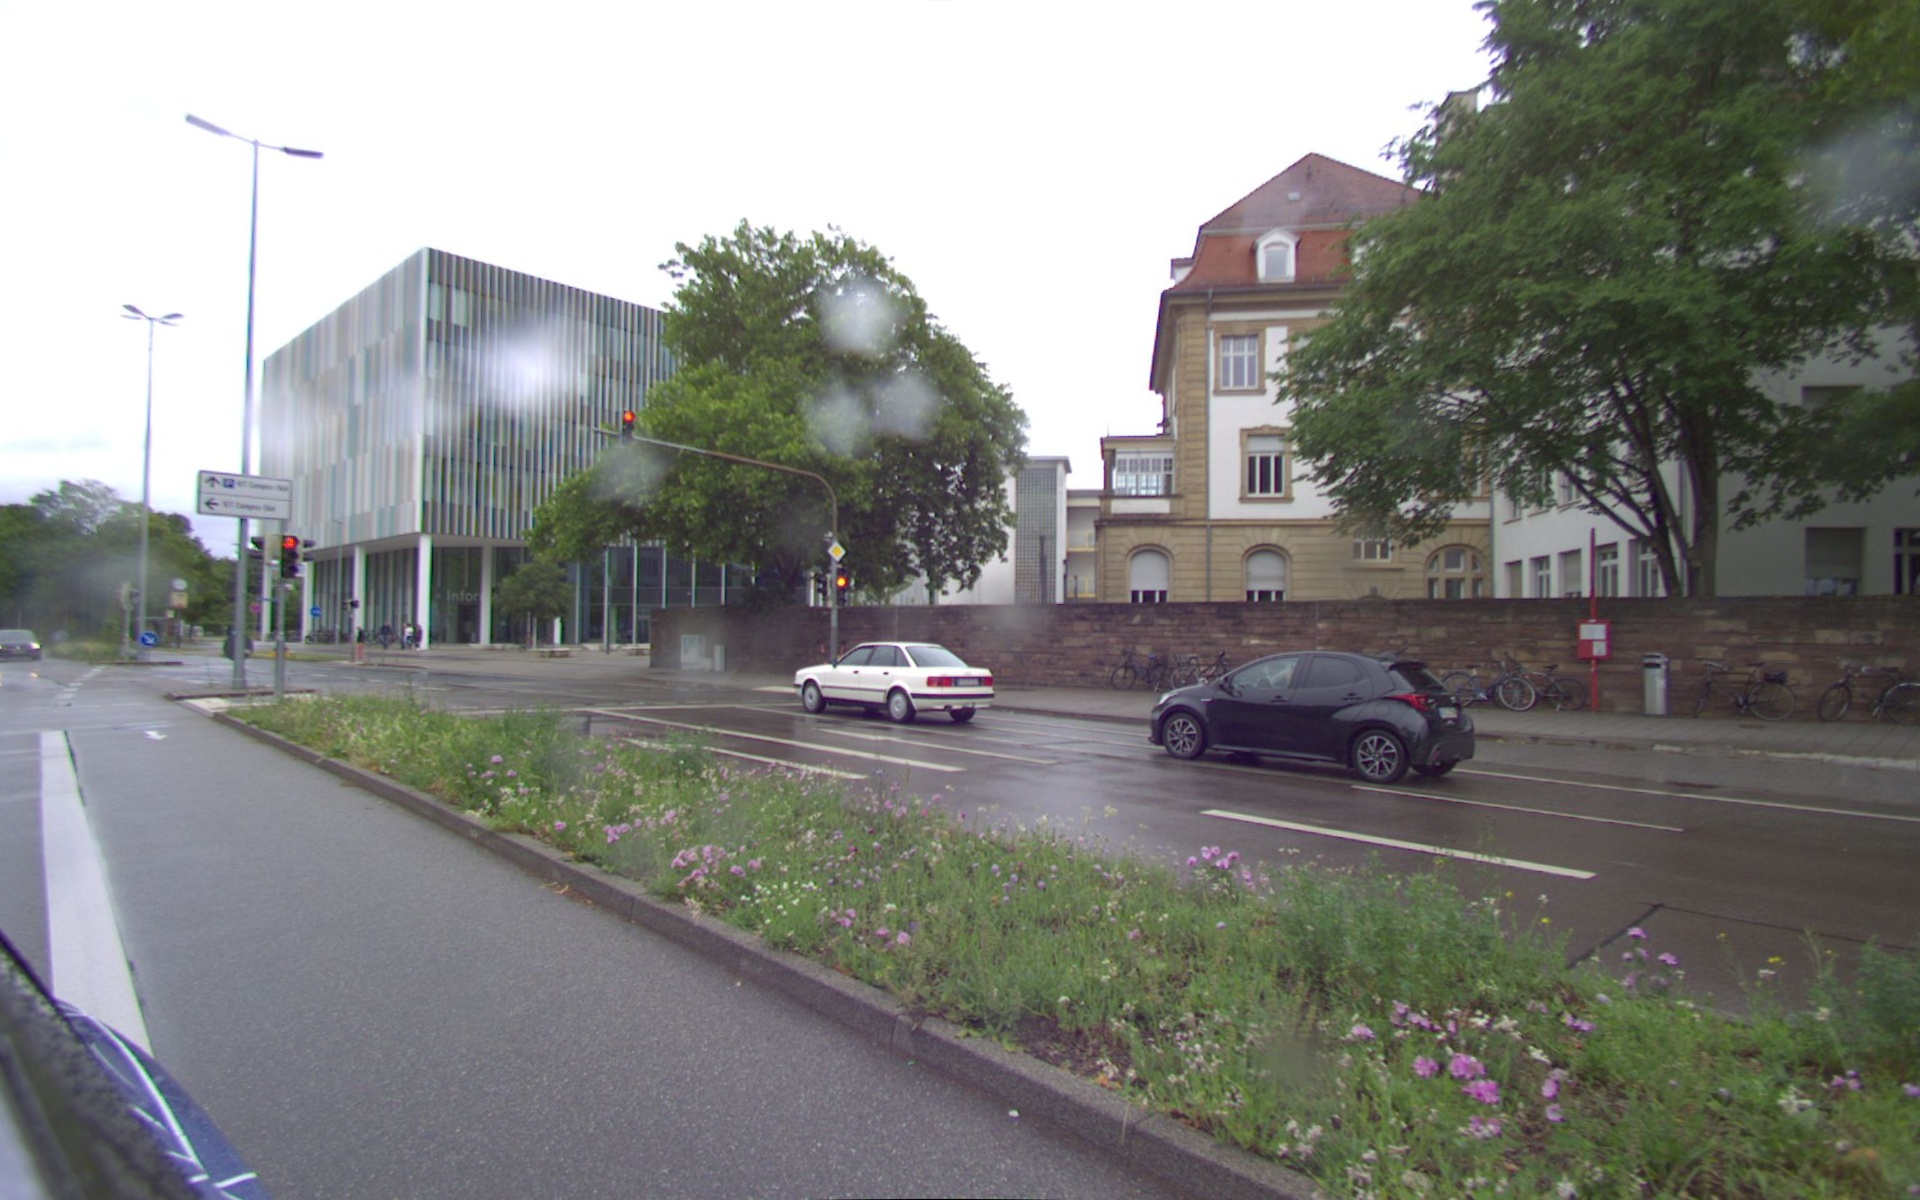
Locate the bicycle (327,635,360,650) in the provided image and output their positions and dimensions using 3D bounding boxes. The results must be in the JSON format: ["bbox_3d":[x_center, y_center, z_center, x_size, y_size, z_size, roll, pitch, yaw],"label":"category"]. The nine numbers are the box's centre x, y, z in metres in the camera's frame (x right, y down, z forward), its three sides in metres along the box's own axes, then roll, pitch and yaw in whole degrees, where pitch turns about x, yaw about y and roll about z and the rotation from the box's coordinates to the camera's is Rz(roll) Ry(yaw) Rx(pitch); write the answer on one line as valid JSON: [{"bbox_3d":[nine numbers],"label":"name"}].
[{"bbox_3d":[-51.385,3.578,84.387,2.248,1.231,0.600,2,-3,-35],"label":"bicycle"}]

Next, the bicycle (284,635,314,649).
[{"bbox_3d":[-61.206,3.898,93.703,2.248,1.231,0.600,2,-3,-35],"label":"bicycle"}]

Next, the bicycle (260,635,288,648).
[{"bbox_3d":[-67.484,4.097,99.520,2.248,1.231,0.600,2,-3,-35],"label":"bicycle"}]

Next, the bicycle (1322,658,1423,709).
[{"bbox_3d":[8.775,1.765,21.587,1.863,0.990,0.724,-1,-2,39],"label":"bicycle"}]

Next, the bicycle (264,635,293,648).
[{"bbox_3d":[-64.884,3.980,96.295,2.248,1.231,0.600,2,-3,-35],"label":"bicycle"}]

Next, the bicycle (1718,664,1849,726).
[{"bbox_3d":[14.372,1.644,17.728,1.697,0.990,0.725,-1,-2,35],"label":"bicycle"}]

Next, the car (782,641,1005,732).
[{"bbox_3d":[-1.343,1.517,18.653,1.577,1.426,4.528,4,-4,-43],"label":"car"}]

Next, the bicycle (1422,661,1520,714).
[{"bbox_3d":[10.394,1.754,20.615,1.697,0.990,0.725,-1,-2,35],"label":"bicycle"}]

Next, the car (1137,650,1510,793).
[{"bbox_3d":[4.336,1.378,12.552,1.604,1.426,4.070,4,-4,-43],"label":"car"}]

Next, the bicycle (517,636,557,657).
[{"bbox_3d":[-25.121,2.782,60.158,0.597,1.231,2.260,-1,-3,33],"label":"bicycle"}]

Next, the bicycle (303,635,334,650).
[{"bbox_3d":[-55.967,3.709,88.298,2.248,1.231,0.600,2,-3,-35],"label":"bicycle"}]

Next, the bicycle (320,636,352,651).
[{"bbox_3d":[-53.436,3.726,86.629,2.248,1.231,0.600,2,-3,-35],"label":"bicycle"}]

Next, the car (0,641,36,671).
[{"bbox_3d":[-44.418,2.590,47.223,4.108,1.375,1.637,-2,-3,44],"label":"car"}]

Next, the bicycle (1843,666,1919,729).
[{"bbox_3d":[15.849,1.614,16.792,1.697,0.990,0.725,-1,-2,35],"label":"bicycle"}]

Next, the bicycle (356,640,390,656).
[{"bbox_3d":[-46.018,3.748,79.333,0.597,1.231,2.260,-1,-3,33],"label":"bicycle"}]

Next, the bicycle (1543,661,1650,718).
[{"bbox_3d":[12.239,1.702,19.485,1.697,0.990,0.725,-1,-2,35],"label":"bicycle"}]

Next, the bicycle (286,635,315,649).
[{"bbox_3d":[-61.464,3.923,94.352,2.248,1.231,0.600,2,-3,-35],"label":"bicycle"}]

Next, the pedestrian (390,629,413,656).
[{"bbox_3d":[-37.364,2.837,67.753,0.917,1.838,0.932,-1,-3,22],"label":"pedestrian"}]

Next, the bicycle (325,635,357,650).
[{"bbox_3d":[-52.126,3.606,85.183,2.248,1.231,0.600,2,-3,-35],"label":"bicycle"}]

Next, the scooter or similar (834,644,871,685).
[{"bbox_3d":[-3.353,1.990,31.571,1.141,1.206,0.387,-2,4,40],"label":"scooter or similar"}]

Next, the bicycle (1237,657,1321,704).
[{"bbox_3d":[7.319,1.823,23.215,1.697,0.990,0.725,-1,-2,35],"label":"bicycle"}]

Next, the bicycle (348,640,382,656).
[{"bbox_3d":[-46.976,3.766,79.924,0.597,1.231,2.260,-1,-3,33],"label":"bicycle"}]

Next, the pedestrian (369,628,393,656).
[{"bbox_3d":[-38.547,2.811,67.373,0.915,1.838,0.935,0,-3,16],"label":"pedestrian"}]

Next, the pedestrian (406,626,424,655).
[{"bbox_3d":[-35.227,2.616,65.448,0.620,1.838,0.781,-1,-3,22],"label":"pedestrian"}]

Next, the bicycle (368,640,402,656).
[{"bbox_3d":[-44.665,3.731,78.697,0.597,1.231,2.260,-1,-3,33],"label":"bicycle"}]

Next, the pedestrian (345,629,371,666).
[{"bbox_3d":[-30.557,2.421,51.346,0.791,1.838,0.781,-1,-3,22],"label":"pedestrian"}]

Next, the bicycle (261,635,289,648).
[{"bbox_3d":[-66.483,4.050,98.236,2.248,1.231,0.600,2,-3,-35],"label":"bicycle"}]

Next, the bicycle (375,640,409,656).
[{"bbox_3d":[-44.003,3.727,78.490,0.597,1.231,2.260,-1,-3,33],"label":"bicycle"}]

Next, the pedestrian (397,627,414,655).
[{"bbox_3d":[-36.472,2.700,66.567,0.620,1.838,0.781,-1,-3,22],"label":"pedestrian"}]

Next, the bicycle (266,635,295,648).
[{"bbox_3d":[-64.235,3.960,95.693,2.248,1.231,0.600,2,-3,-35],"label":"bicycle"}]

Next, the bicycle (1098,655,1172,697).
[{"bbox_3d":[4.411,1.900,25.547,1.697,0.990,0.725,-1,-2,35],"label":"bicycle"}]

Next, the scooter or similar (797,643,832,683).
[{"bbox_3d":[-4.710,2.032,32.802,1.141,1.206,0.387,-1,4,41],"label":"scooter or similar"}]

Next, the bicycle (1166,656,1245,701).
[{"bbox_3d":[5.835,1.850,24.107,1.697,0.990,0.725,-1,-2,35],"label":"bicycle"}]

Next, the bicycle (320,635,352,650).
[{"bbox_3d":[-52.908,3.629,85.865,2.248,1.231,0.600,2,-3,-35],"label":"bicycle"}]

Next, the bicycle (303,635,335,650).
[{"bbox_3d":[-55.481,3.684,87.615,2.248,1.231,0.600,2,-3,-35],"label":"bicycle"}]

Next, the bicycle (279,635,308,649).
[{"bbox_3d":[-62.579,3.944,95.040,2.248,1.231,0.600,2,-3,-35],"label":"bicycle"}]

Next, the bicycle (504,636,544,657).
[{"bbox_3d":[-26.096,2.767,60.575,0.597,1.231,2.260,-1,-3,33],"label":"bicycle"}]
